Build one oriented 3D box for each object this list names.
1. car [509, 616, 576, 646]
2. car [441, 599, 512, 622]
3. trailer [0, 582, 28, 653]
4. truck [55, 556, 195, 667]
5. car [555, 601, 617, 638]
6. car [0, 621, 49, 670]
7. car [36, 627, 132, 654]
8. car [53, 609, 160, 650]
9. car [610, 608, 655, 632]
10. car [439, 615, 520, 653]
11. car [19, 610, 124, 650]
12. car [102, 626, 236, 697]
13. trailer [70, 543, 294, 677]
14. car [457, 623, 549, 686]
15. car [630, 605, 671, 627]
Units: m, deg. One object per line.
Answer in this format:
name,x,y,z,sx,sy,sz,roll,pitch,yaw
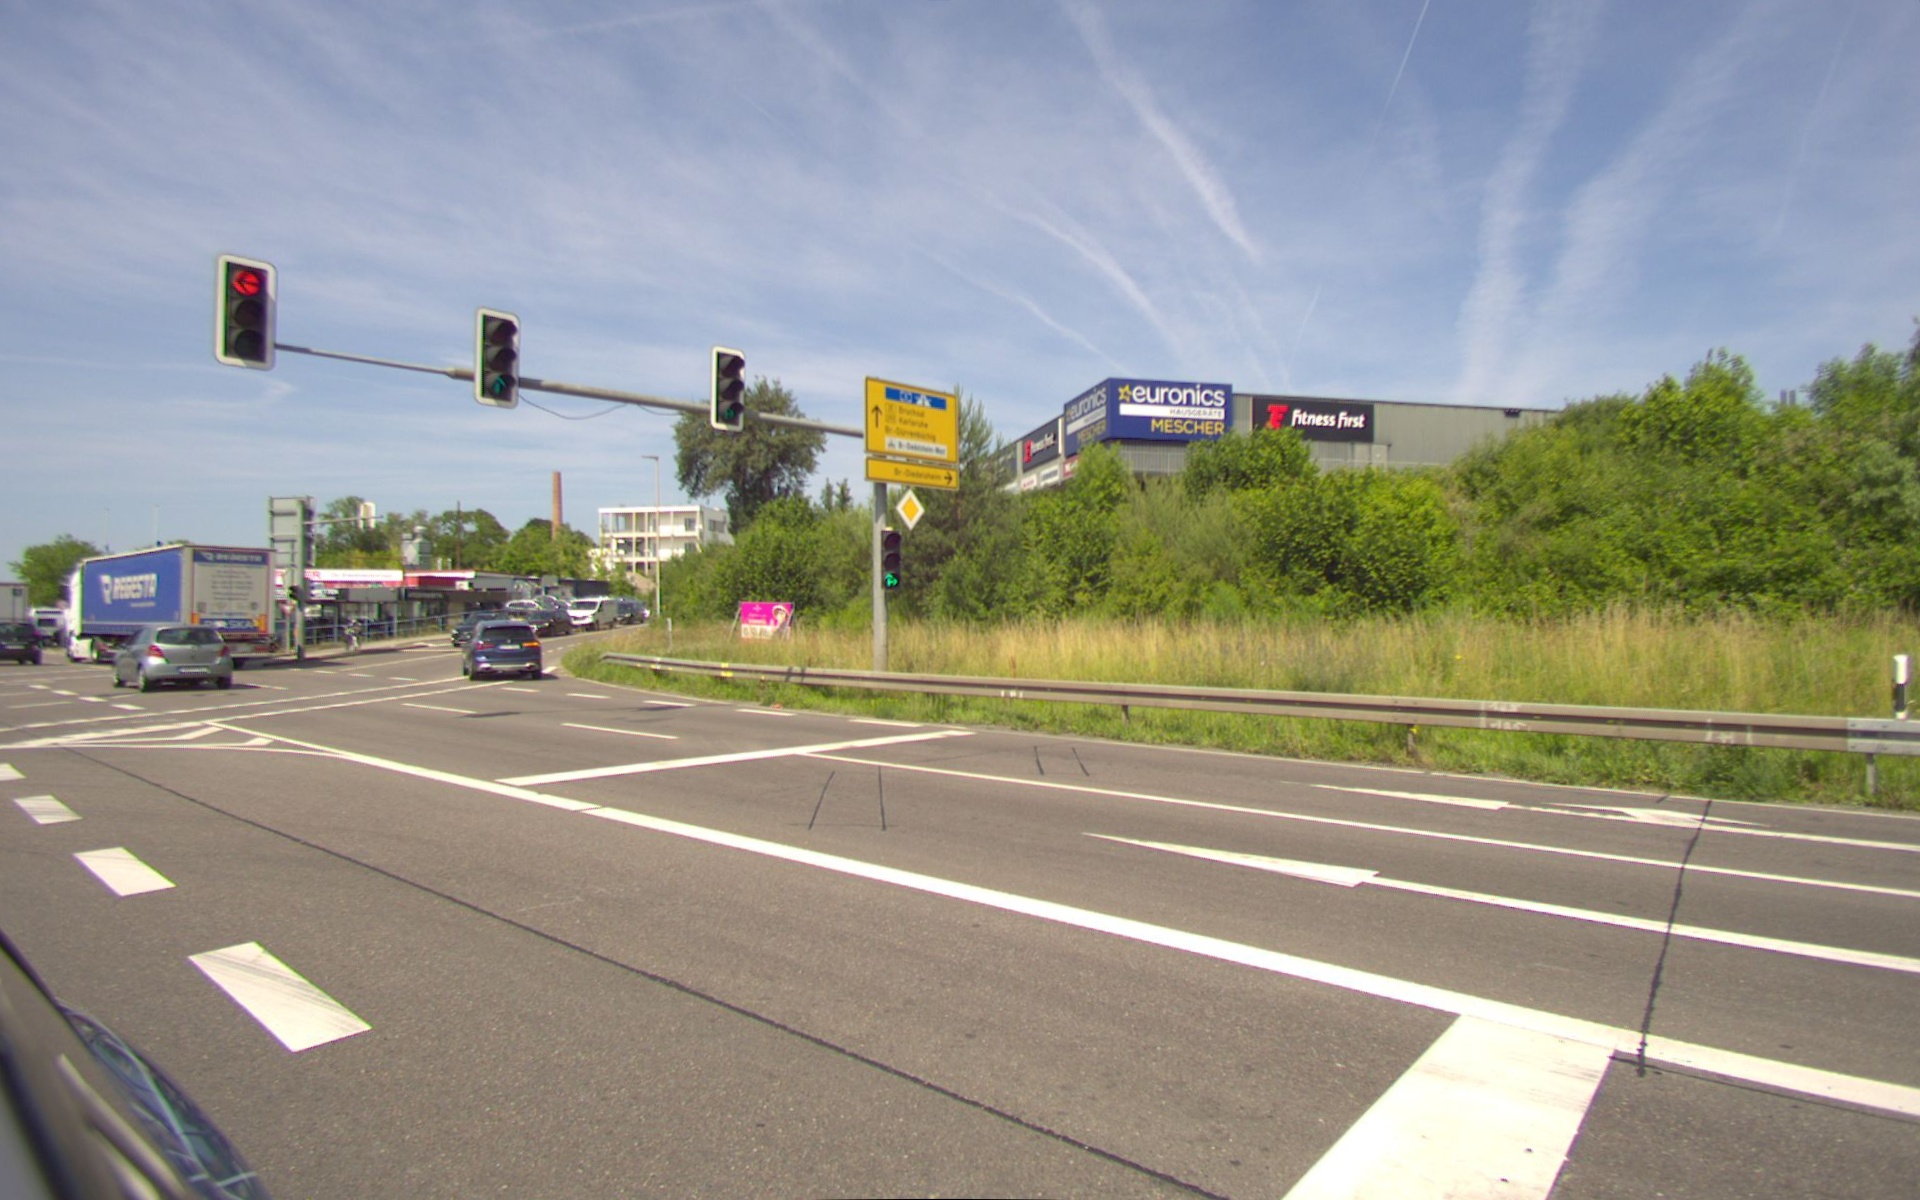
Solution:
car,-23.292,1.694,56.682,1.921,1.429,4.978,0,1,-3
car,-33.808,0.727,70.829,4.013,1.574,2.000,0,0,-1
trailer,-62.535,1.136,64.131,13.857,4.179,2.666,-1,-2,38
truck,-33.781,0.520,40.891,6.340,4.111,3.156,-1,-2,40
car,-23.420,1.166,63.615,2.038,2.057,5.519,-1,1,-3
car,-35.476,1.677,37.559,3.997,1.739,1.973,-1,-2,41
car,-55.077,2.533,63.735,2.011,1.635,4.164,0,-2,14
car,-61.351,2.145,72.857,2.116,2.860,5.645,-3,-3,43
car,-23.293,1.381,72.181,1.971,1.574,4.512,0,0,-3
car,-23.007,1.585,48.671,1.887,1.539,4.640,-1,1,-3
car,-64.228,2.191,73.234,2.177,2.794,5.504,-2,-3,43
car,-18.496,1.383,23.607,3.998,1.513,1.707,-1,-3,41
trailer,-28.558,0.447,36.701,14.108,4.111,3.063,-1,-2,39
car,-13.319,1.527,29.367,1.966,1.689,4.320,1,-2,-30
car,-24.369,1.240,79.931,1.971,1.574,4.511,0,0,-1
